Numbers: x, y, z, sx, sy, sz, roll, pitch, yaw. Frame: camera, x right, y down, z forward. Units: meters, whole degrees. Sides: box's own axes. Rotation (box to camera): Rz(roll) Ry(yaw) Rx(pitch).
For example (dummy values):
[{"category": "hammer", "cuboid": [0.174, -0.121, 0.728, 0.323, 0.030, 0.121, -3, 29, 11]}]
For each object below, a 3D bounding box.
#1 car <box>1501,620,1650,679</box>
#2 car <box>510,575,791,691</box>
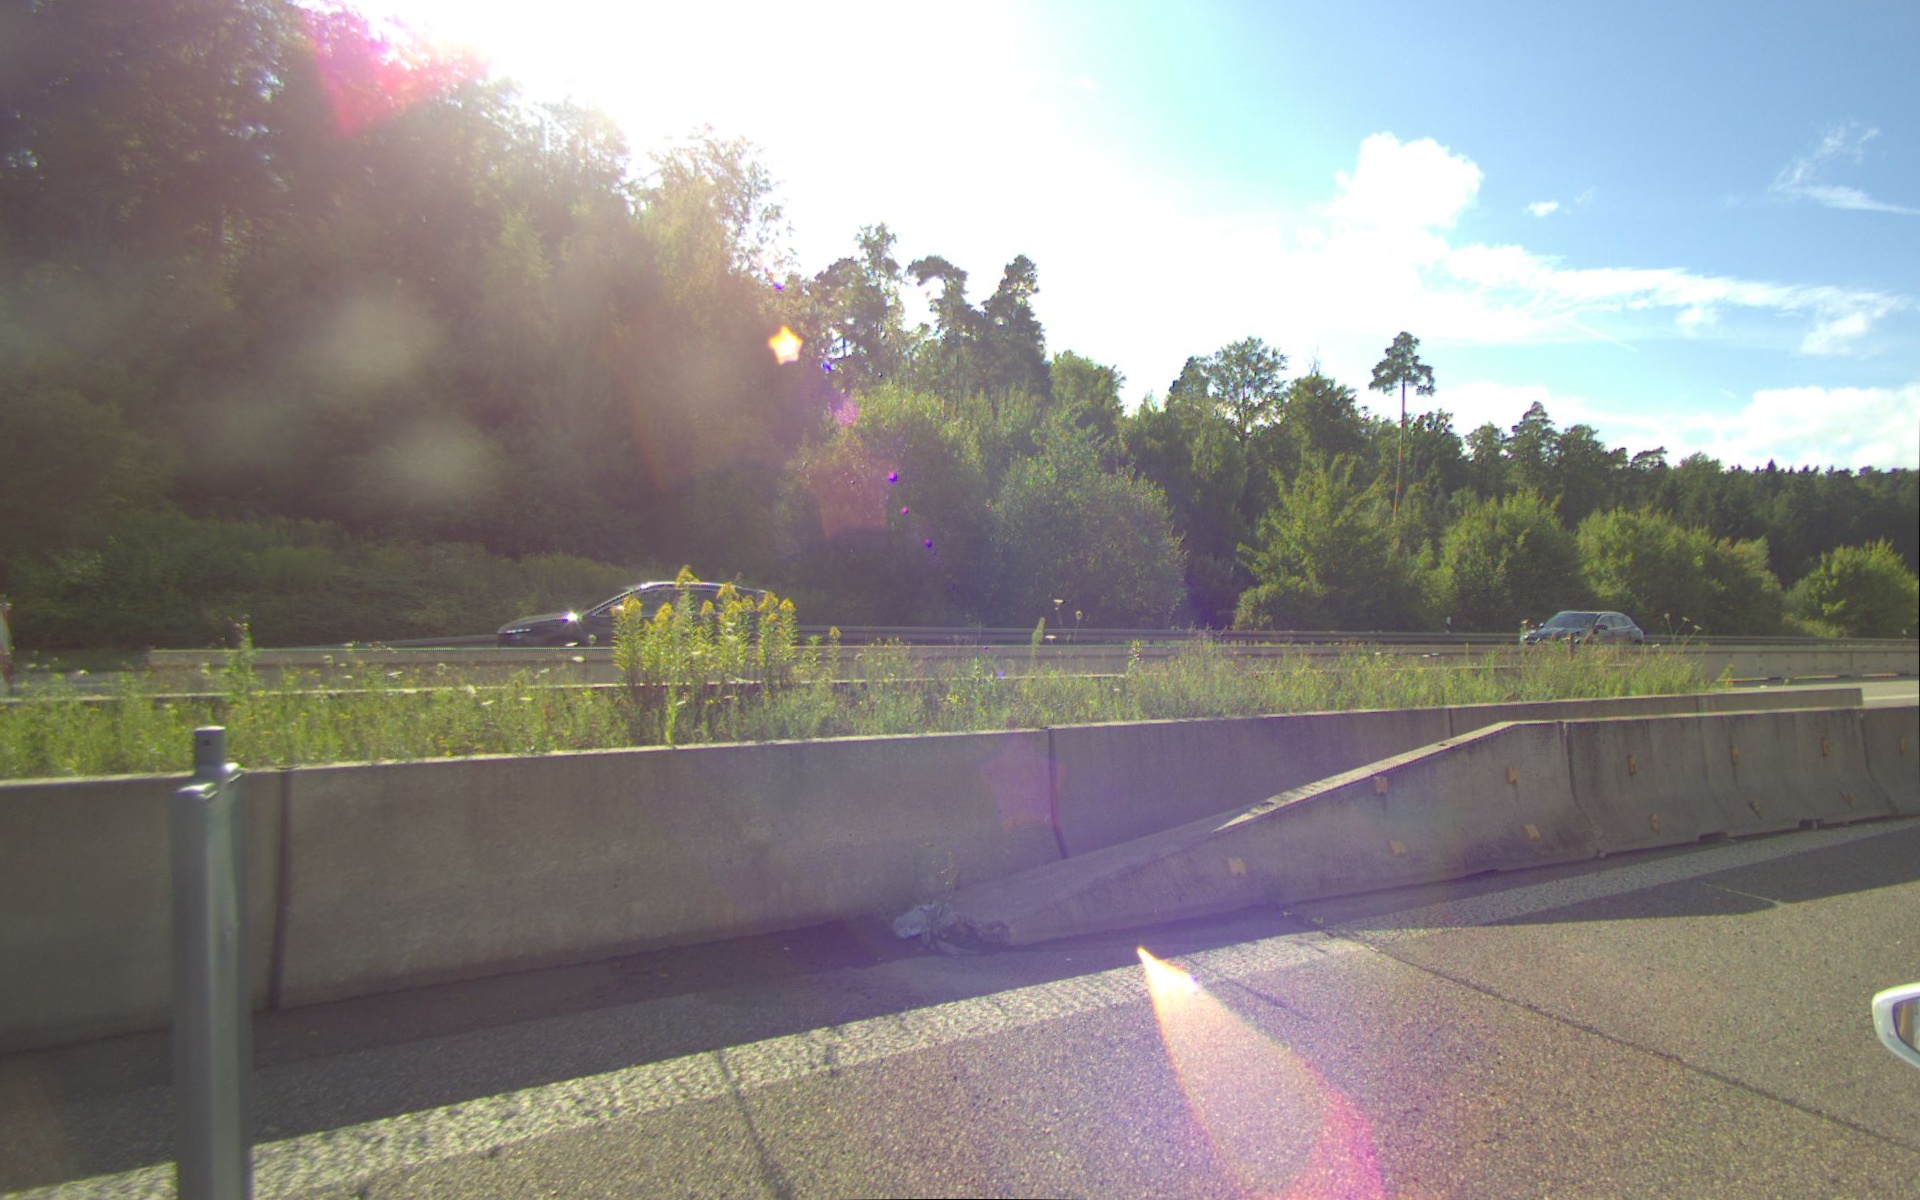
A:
[{"category": "car", "cuboid": [18.571, 1.476, 30.264, 4.429, 1.610, 1.949, 2, 0, -30]}, {"category": "car", "cuboid": [-4.865, 0.507, 15.875, 3.968, 1.624, 1.771, 2, 0, -28]}]
